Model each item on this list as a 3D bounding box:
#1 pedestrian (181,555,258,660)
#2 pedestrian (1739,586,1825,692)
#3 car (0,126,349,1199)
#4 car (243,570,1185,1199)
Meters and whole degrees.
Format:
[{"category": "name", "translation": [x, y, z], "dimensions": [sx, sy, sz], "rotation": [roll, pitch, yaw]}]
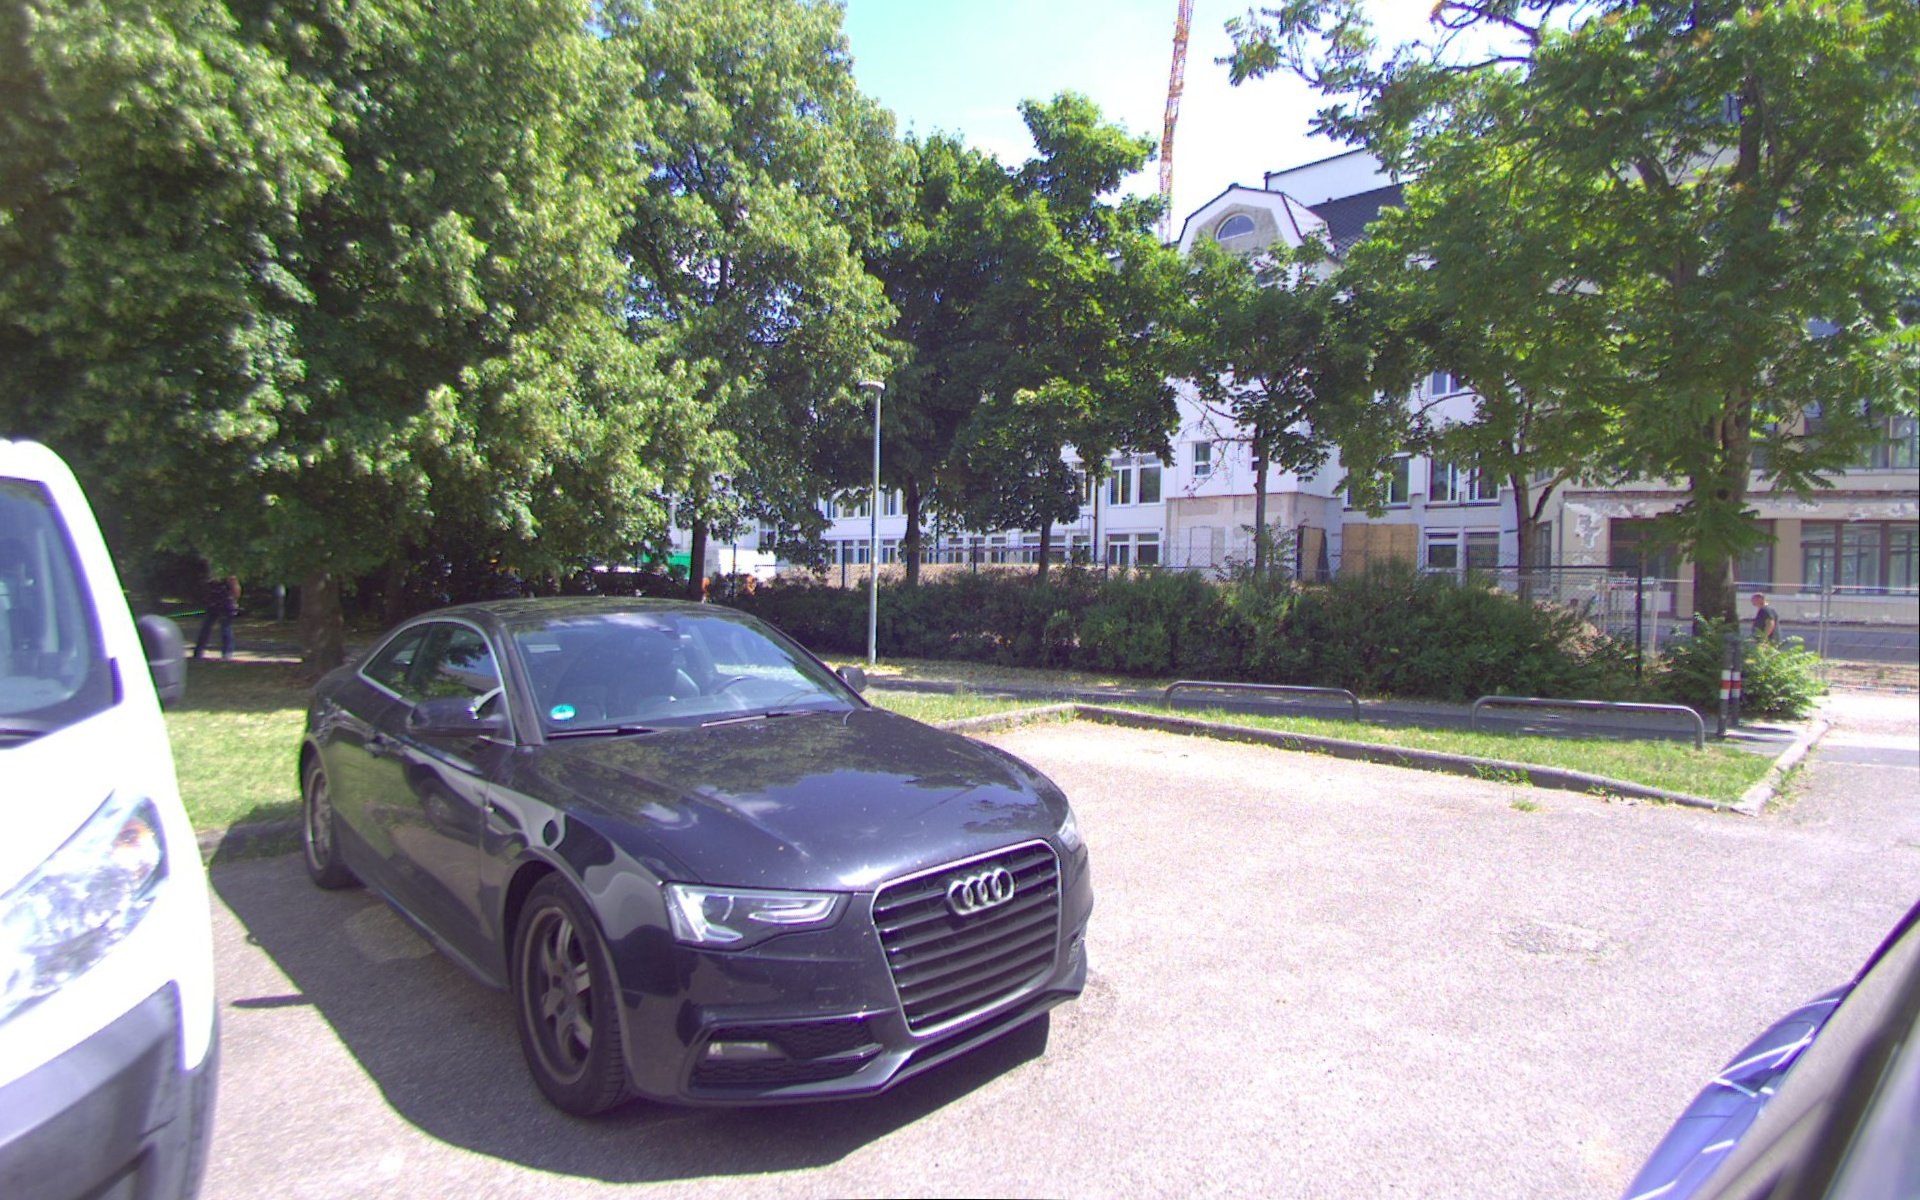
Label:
[{"category": "pedestrian", "translation": [-11.577, 0.100, 15.830], "dimensions": [0.745, 1.584, 0.732], "rotation": [2, 0, 33]}, {"category": "pedestrian", "translation": [14.928, 0.674, 18.413], "dimensions": [0.956, 1.842, 0.864], "rotation": [2, 0, 23]}, {"category": "car", "translation": [-3.378, 0.322, 2.635], "dimensions": [4.761, 2.039, 1.968], "rotation": [2, 1, 45]}, {"category": "car", "translation": [-1.516, 0.600, 4.399], "dimensions": [4.613, 1.369, 1.804], "rotation": [2, 1, 44]}]
